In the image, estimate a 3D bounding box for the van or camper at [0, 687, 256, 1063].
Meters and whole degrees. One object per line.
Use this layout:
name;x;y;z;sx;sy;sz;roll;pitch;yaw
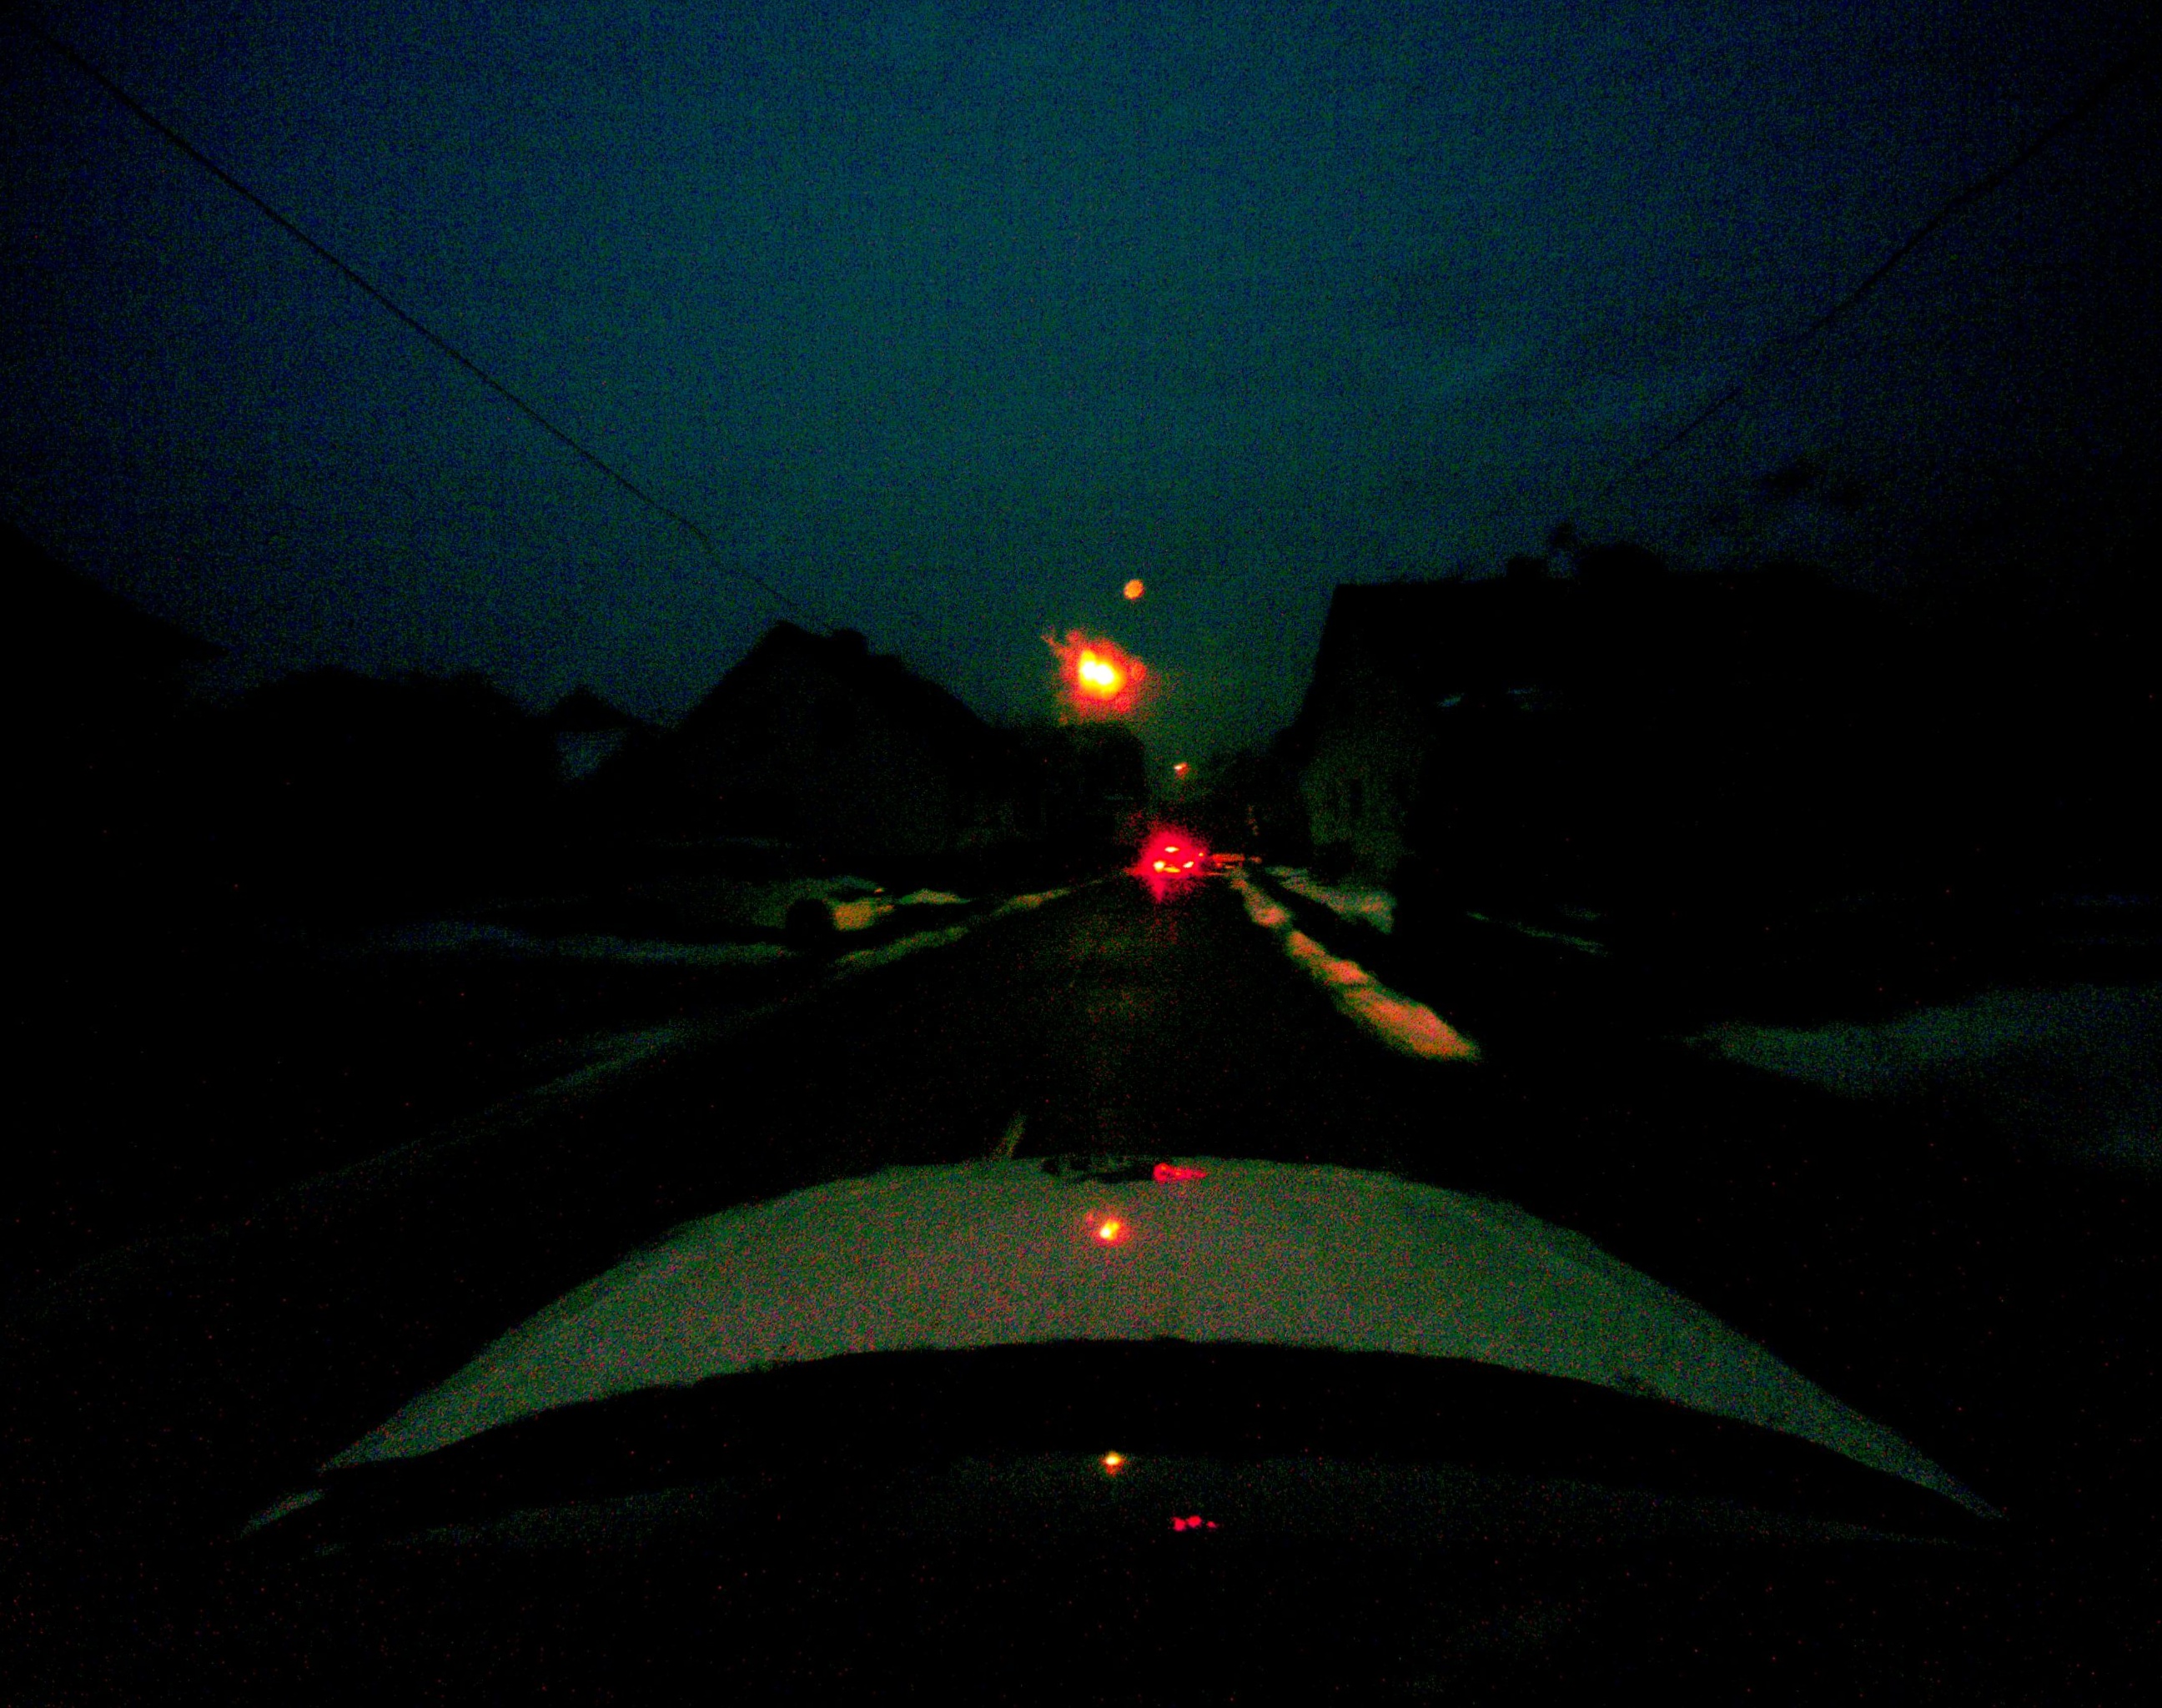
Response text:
van or camper;-9.778;0.245;5.582;5.301;2.448;2.133;-3;0;-17

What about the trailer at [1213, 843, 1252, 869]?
trailer;8.774;0.064;47.003;1.980;1.388;4.748;-1;1;13

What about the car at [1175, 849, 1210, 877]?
car;7.157;0.560;52.058;1.981;1.728;4.011;-1;-1;10

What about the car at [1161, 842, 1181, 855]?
car;10.792;-0.642;97.684;1.904;1.481;4.283;-3;1;1

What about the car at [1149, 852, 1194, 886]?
car;4.351;0.684;38.542;1.982;1.508;4.009;0;-1;8

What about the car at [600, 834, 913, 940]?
car;-5.559;0.548;14.169;4.760;1.666;1.896;-1;-1;12
